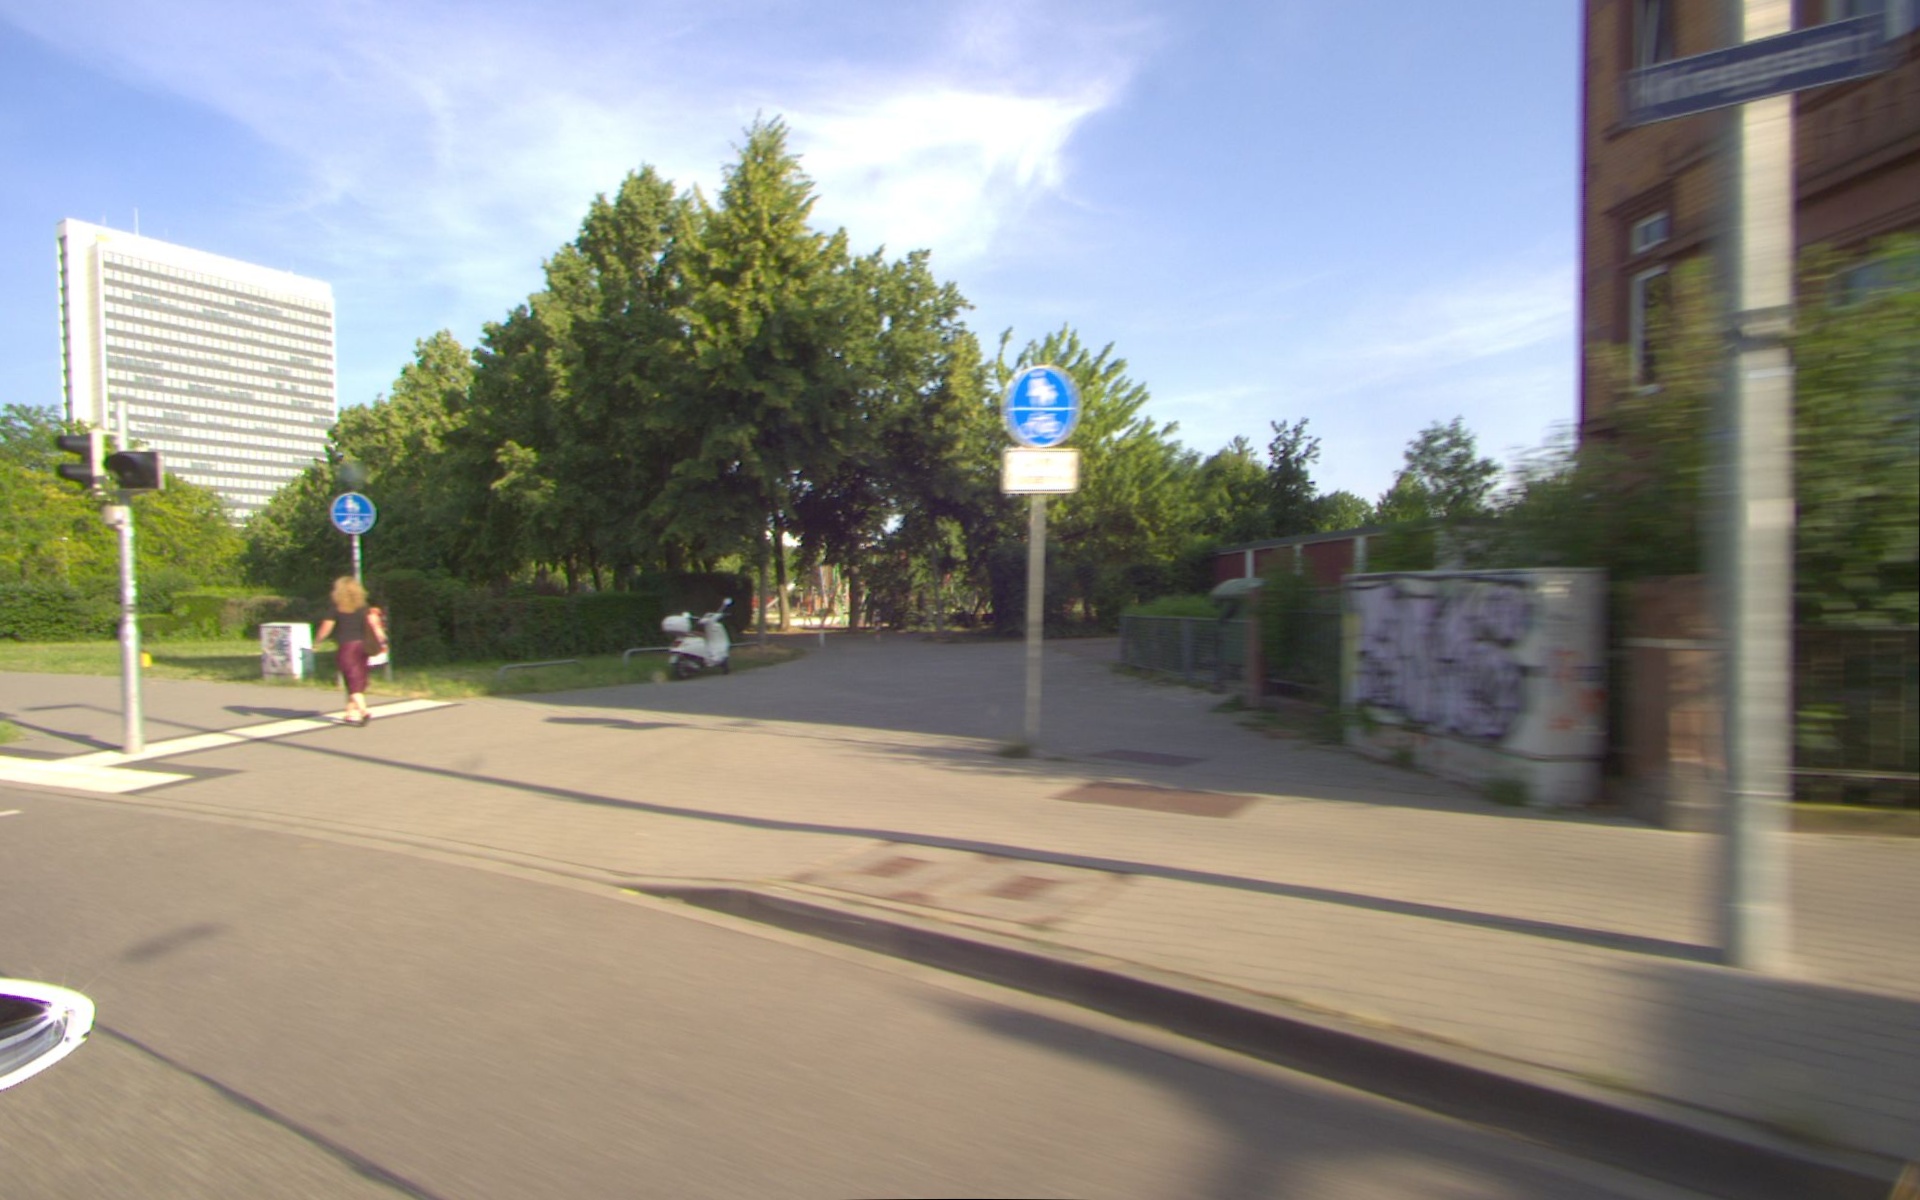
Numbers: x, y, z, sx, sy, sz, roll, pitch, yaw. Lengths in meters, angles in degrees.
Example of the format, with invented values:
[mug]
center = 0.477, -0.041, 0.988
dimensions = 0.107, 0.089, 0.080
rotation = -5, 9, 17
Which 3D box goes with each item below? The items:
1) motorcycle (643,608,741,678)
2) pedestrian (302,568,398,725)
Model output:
[motorcycle]
center = -4.756, 0.733, 17.925
dimensions = 0.695, 1.175, 1.999
rotation = 0, 0, 19
[pedestrian]
center = -6.946, 0.510, 11.419
dimensions = 0.540, 1.716, 0.613
rotation = 1, 6, 29
